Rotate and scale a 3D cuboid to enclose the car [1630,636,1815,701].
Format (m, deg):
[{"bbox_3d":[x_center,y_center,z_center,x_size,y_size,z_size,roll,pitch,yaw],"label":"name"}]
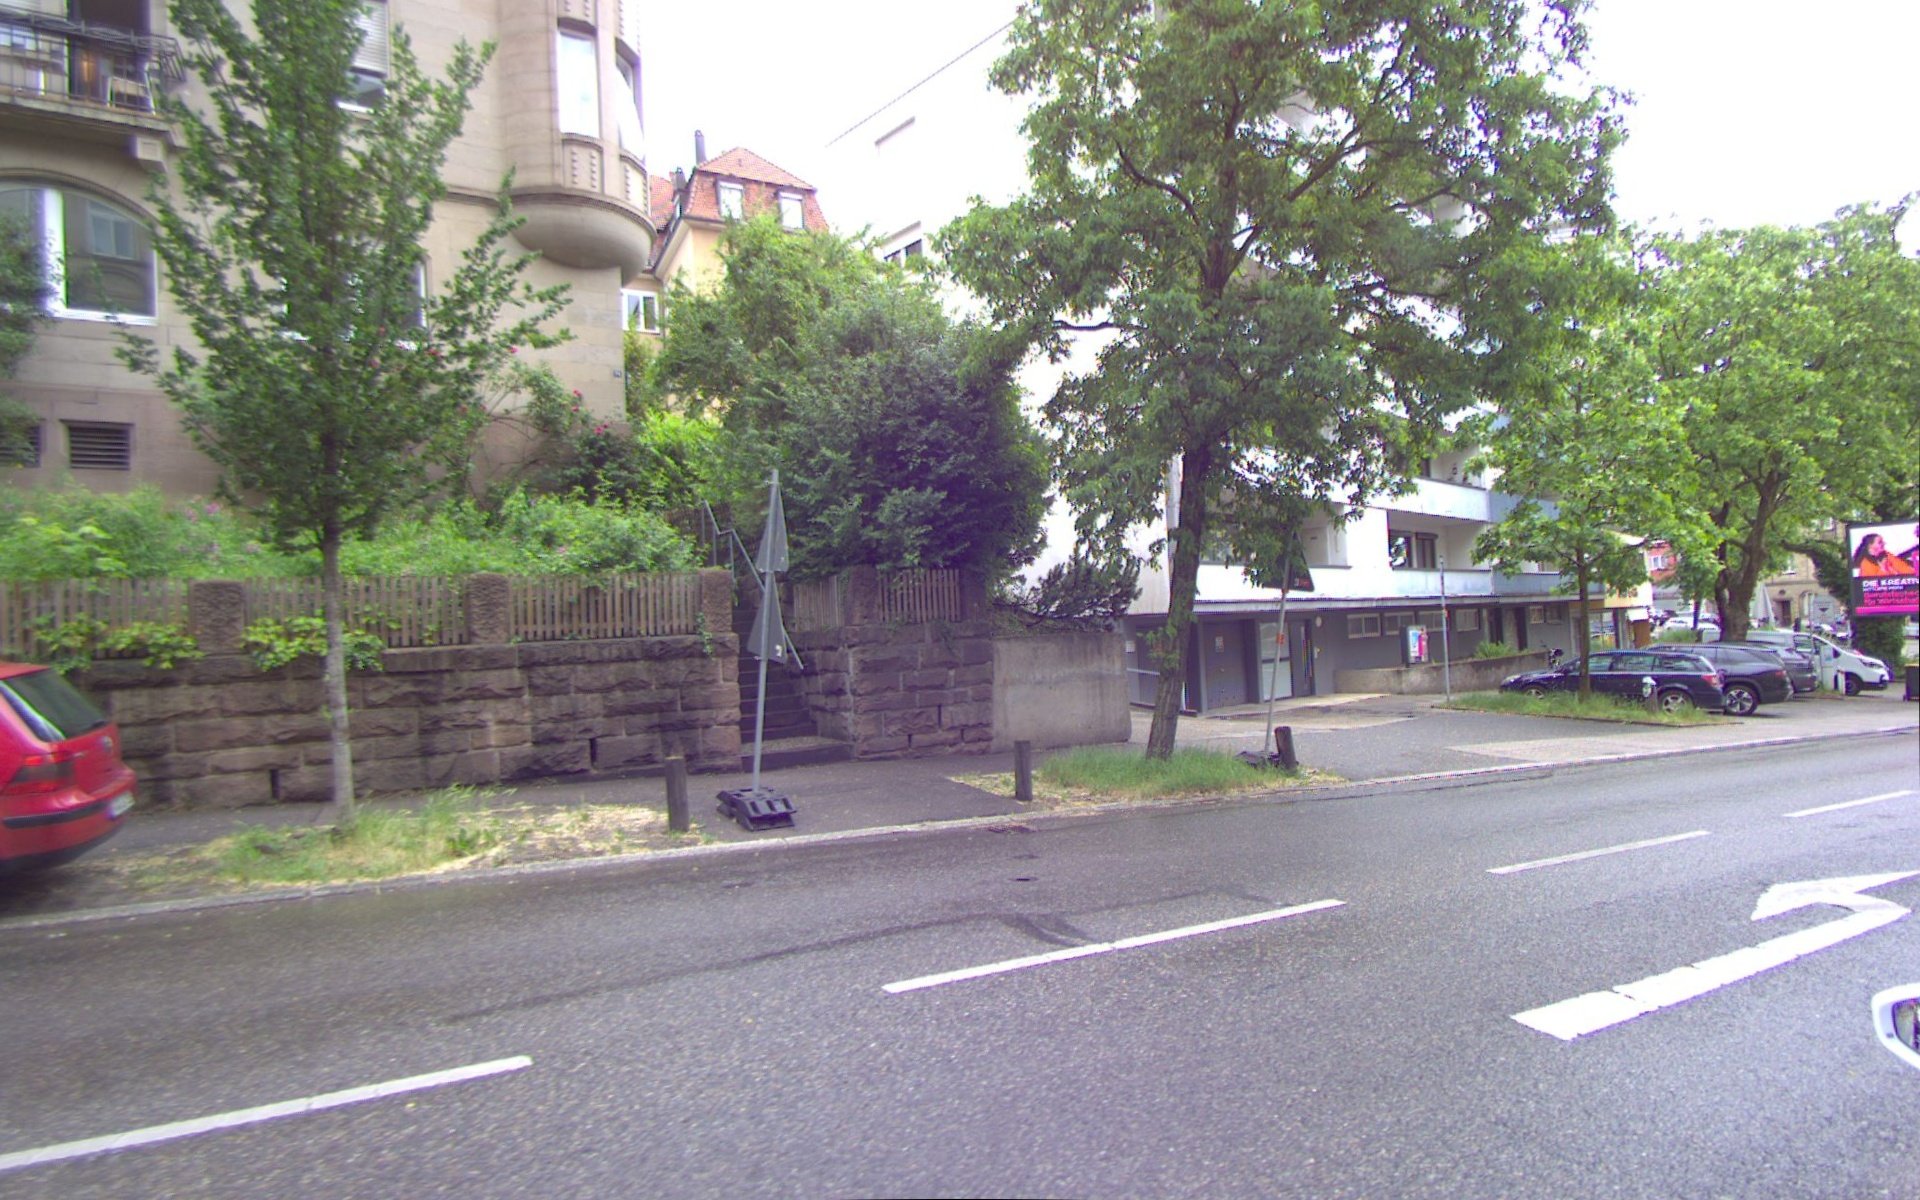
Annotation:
[{"bbox_3d":[22.810,2.008,30.171,4.304,1.807,1.931,-2,-3,40],"label":"car"}]

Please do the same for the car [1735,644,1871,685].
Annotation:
[{"bbox_3d":[32.529,2.458,38.879,3.925,1.469,1.761,-2,-3,40],"label":"car"}]

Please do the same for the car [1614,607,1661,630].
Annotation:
[{"bbox_3d":[60.503,1.678,89.779,1.545,2.040,4.001,0,-1,2],"label":"car"}]

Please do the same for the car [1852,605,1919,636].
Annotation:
[{"bbox_3d":[68.919,1.497,74.356,1.961,2.130,4.291,-1,0,-1],"label":"car"}]

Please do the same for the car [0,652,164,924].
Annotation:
[{"bbox_3d":[-7.074,1.042,5.486,4.015,1.470,1.606,1,-2,-30],"label":"car"}]

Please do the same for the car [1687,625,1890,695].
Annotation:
[{"bbox_3d":[27.136,1.931,33.098,5.000,2.132,1.983,-2,-3,40],"label":"car"}]

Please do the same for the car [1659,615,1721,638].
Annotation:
[{"bbox_3d":[59.850,2.139,82.441,1.961,1.749,4.250,-2,-1,-1],"label":"car"}]

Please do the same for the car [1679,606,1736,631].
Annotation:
[{"bbox_3d":[68.087,1.659,91.624,1.961,2.130,4.291,-1,0,-1],"label":"car"}]

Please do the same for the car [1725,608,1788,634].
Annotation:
[{"bbox_3d":[68.429,1.788,86.369,1.961,2.130,4.291,-1,0,-1],"label":"car"}]

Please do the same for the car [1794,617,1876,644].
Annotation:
[{"bbox_3d":[59.964,2.034,68.902,1.960,1.749,4.250,-1,-1,1],"label":"car"}]

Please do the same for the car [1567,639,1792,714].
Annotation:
[{"bbox_3d":[17.538,1.851,24.654,4.312,1.694,1.848,-3,-4,38],"label":"car"}]

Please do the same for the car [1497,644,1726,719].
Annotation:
[{"bbox_3d":[15.121,1.860,23.413,4.303,1.594,1.936,-3,-4,38],"label":"car"}]

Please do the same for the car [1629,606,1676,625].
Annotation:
[{"bbox_3d":[67.798,1.518,98.403,1.694,1.711,3.999,2,0,-2],"label":"car"}]
